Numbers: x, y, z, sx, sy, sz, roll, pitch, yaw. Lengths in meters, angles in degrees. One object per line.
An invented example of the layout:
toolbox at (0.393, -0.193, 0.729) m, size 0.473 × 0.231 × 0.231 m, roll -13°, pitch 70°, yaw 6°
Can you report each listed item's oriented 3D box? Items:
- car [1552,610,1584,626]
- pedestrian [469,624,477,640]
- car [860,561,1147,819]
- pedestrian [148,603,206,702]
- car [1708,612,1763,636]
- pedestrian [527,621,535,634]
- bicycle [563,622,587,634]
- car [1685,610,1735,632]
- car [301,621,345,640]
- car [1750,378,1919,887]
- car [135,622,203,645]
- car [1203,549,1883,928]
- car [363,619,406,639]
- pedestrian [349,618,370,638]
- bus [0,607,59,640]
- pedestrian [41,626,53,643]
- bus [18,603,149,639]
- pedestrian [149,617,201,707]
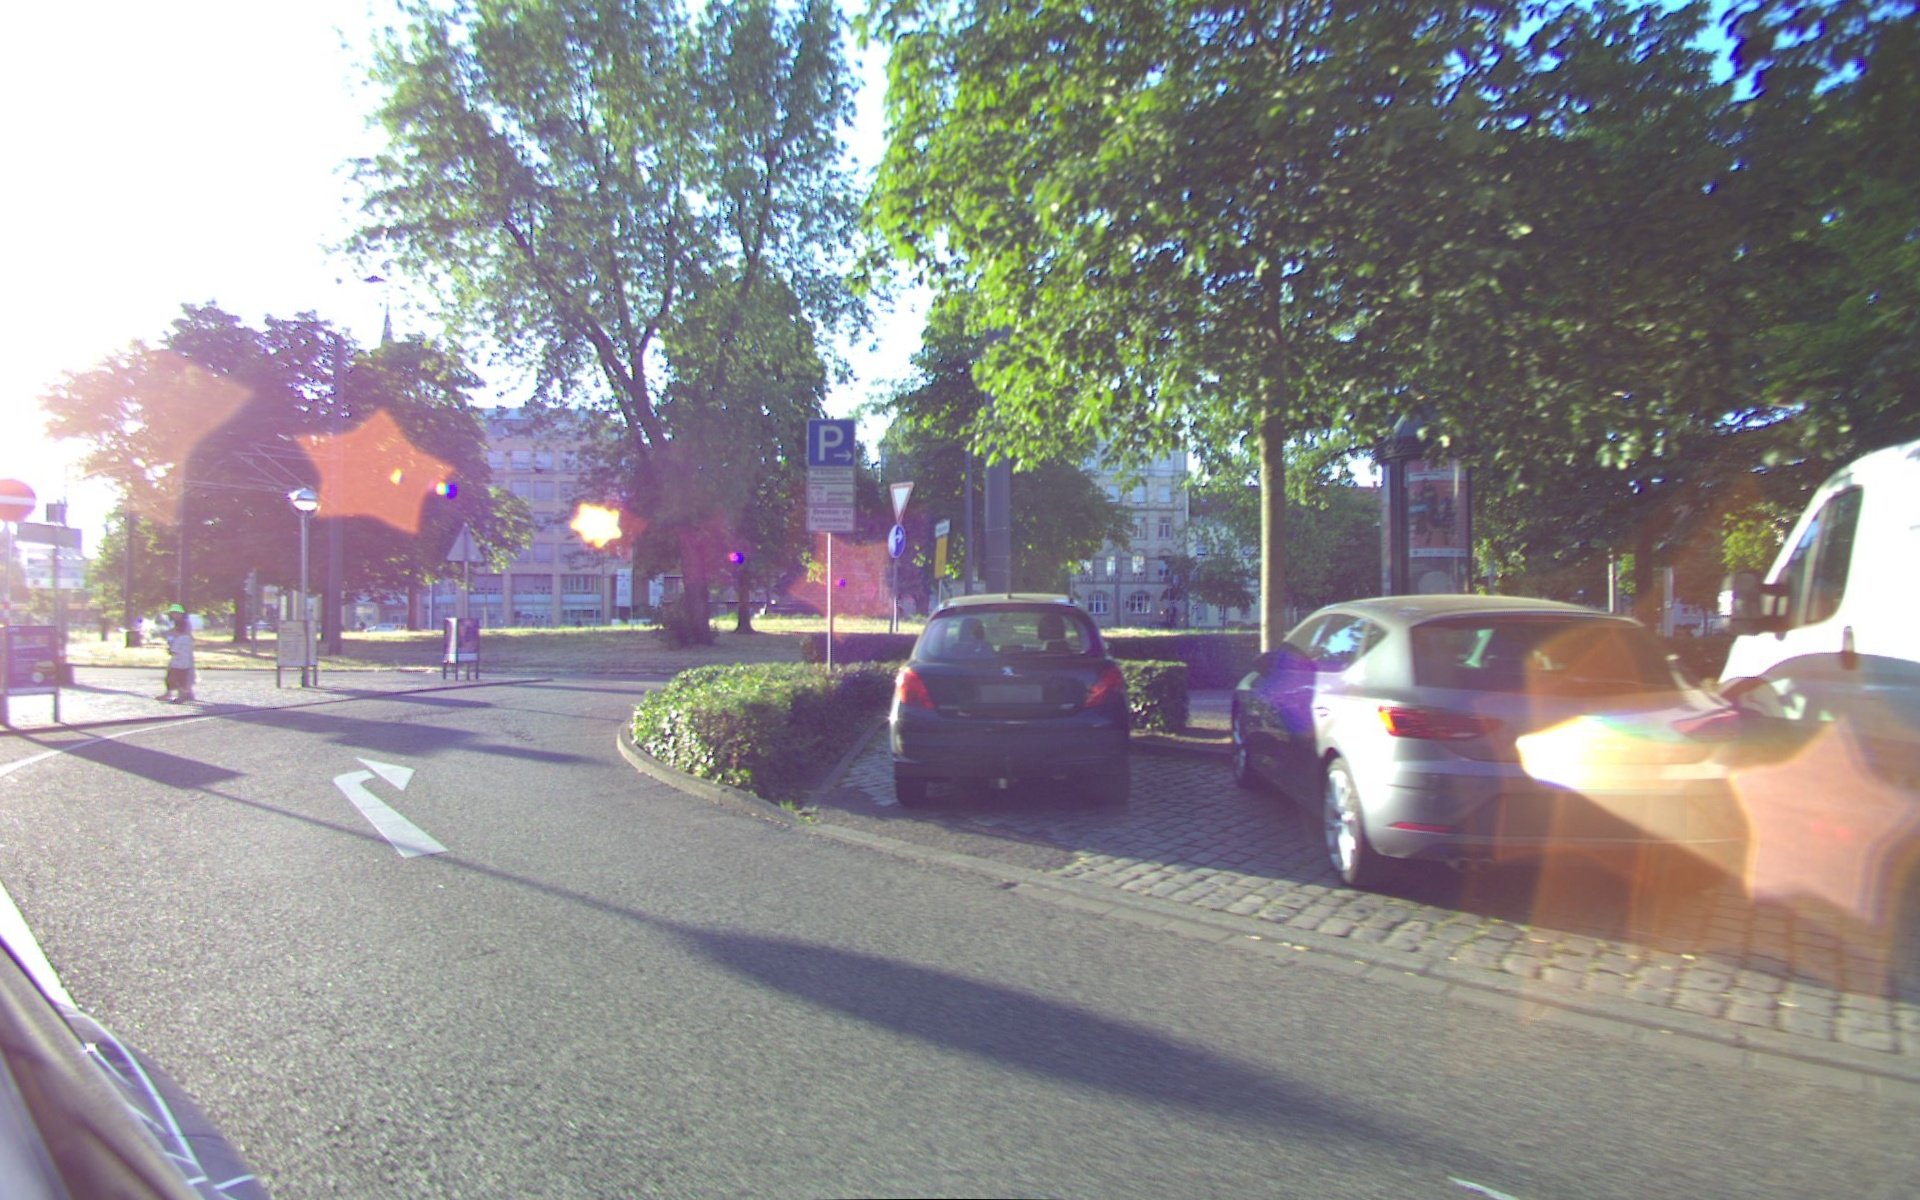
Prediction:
car at (66.023, 1.938, 109.943) m, size 1.983 × 1.696 × 3.977 m, roll -2°, pitch -1°, yaw 17°
pedestrian at (-53.363, 3.473, 110.972) m, size 0.614 × 1.705 × 0.527 m, roll -2°, pitch -1°, yaw 24°
car at (0.460, 0.574, 8.293) m, size 1.781 × 1.594 × 3.877 m, roll -1°, pitch 0°, yaw 6°
pedestrian at (-12.849, 0.847, 16.621) m, size 0.683 × 1.571 × 0.701 m, roll -1°, pitch -1°, yaw -33°
car at (58.425, 1.780, 76.284) m, size 1.983 × 1.630 × 3.978 m, roll -1°, pitch 0°, yaw 17°
pedestrian at (-46.185, 2.944, 108.971) m, size 0.681 × 1.334 × 0.561 m, roll -2°, pitch -1°, yaw 31°
bicycle at (-38.711, 2.841, 101.860) m, size 2.168 × 1.018 × 0.473 m, roll 4°, pitch -1°, yaw -5°
car at (60.513, 1.670, 81.779) m, size 1.983 × 1.719 × 3.977 m, roll -1°, pitch -1°, yaw 17°
car at (-70.749, 3.398, 112.398) m, size 3.958 × 2.029 × 1.904 m, roll -2°, pitch -1°, yaw 11°
car at (5.112, 0.134, 3.369) m, size 2.182 × 2.268 × 4.592 m, roll -1°, pitch 0°, yaw 14°
car at (-105.604, 4.413, 135.276) m, size 2.290 × 2.900 × 7.158 m, roll -2°, pitch -2°, yaw 18°
car at (2.820, 0.587, 6.087) m, size 1.808 × 1.498 × 3.998 m, roll -1°, pitch -1°, yaw 2°
car at (-62.732, 3.128, 110.348) m, size 3.869 × 2.029 × 1.849 m, roll -2°, pitch -1°, yaw 11°
pedestrian at (-64.272, 3.023, 108.367) m, size 1.618 × 2.110 × 1.054 m, roll -2°, pitch -1°, yaw 15°
bus at (-103.352, 2.584, 109.480) m, size 10.641 × 3.356 × 3.741 m, roll -2°, pitch -1°, yaw 17°
pedestrian at (-82.234, 3.080, 91.133) m, size 0.698 × 1.470 × 0.664 m, roll -2°, pitch -1°, yaw 37°
bus at (-91.798, 2.214, 105.977) m, size 13.593 × 3.388 × 3.740 m, roll -2°, pitch -1°, yaw 17°
pedestrian at (-12.435, 0.964, 16.036) m, size 0.604 × 1.374 × 0.566 m, roll -1°, pitch -1°, yaw -34°
